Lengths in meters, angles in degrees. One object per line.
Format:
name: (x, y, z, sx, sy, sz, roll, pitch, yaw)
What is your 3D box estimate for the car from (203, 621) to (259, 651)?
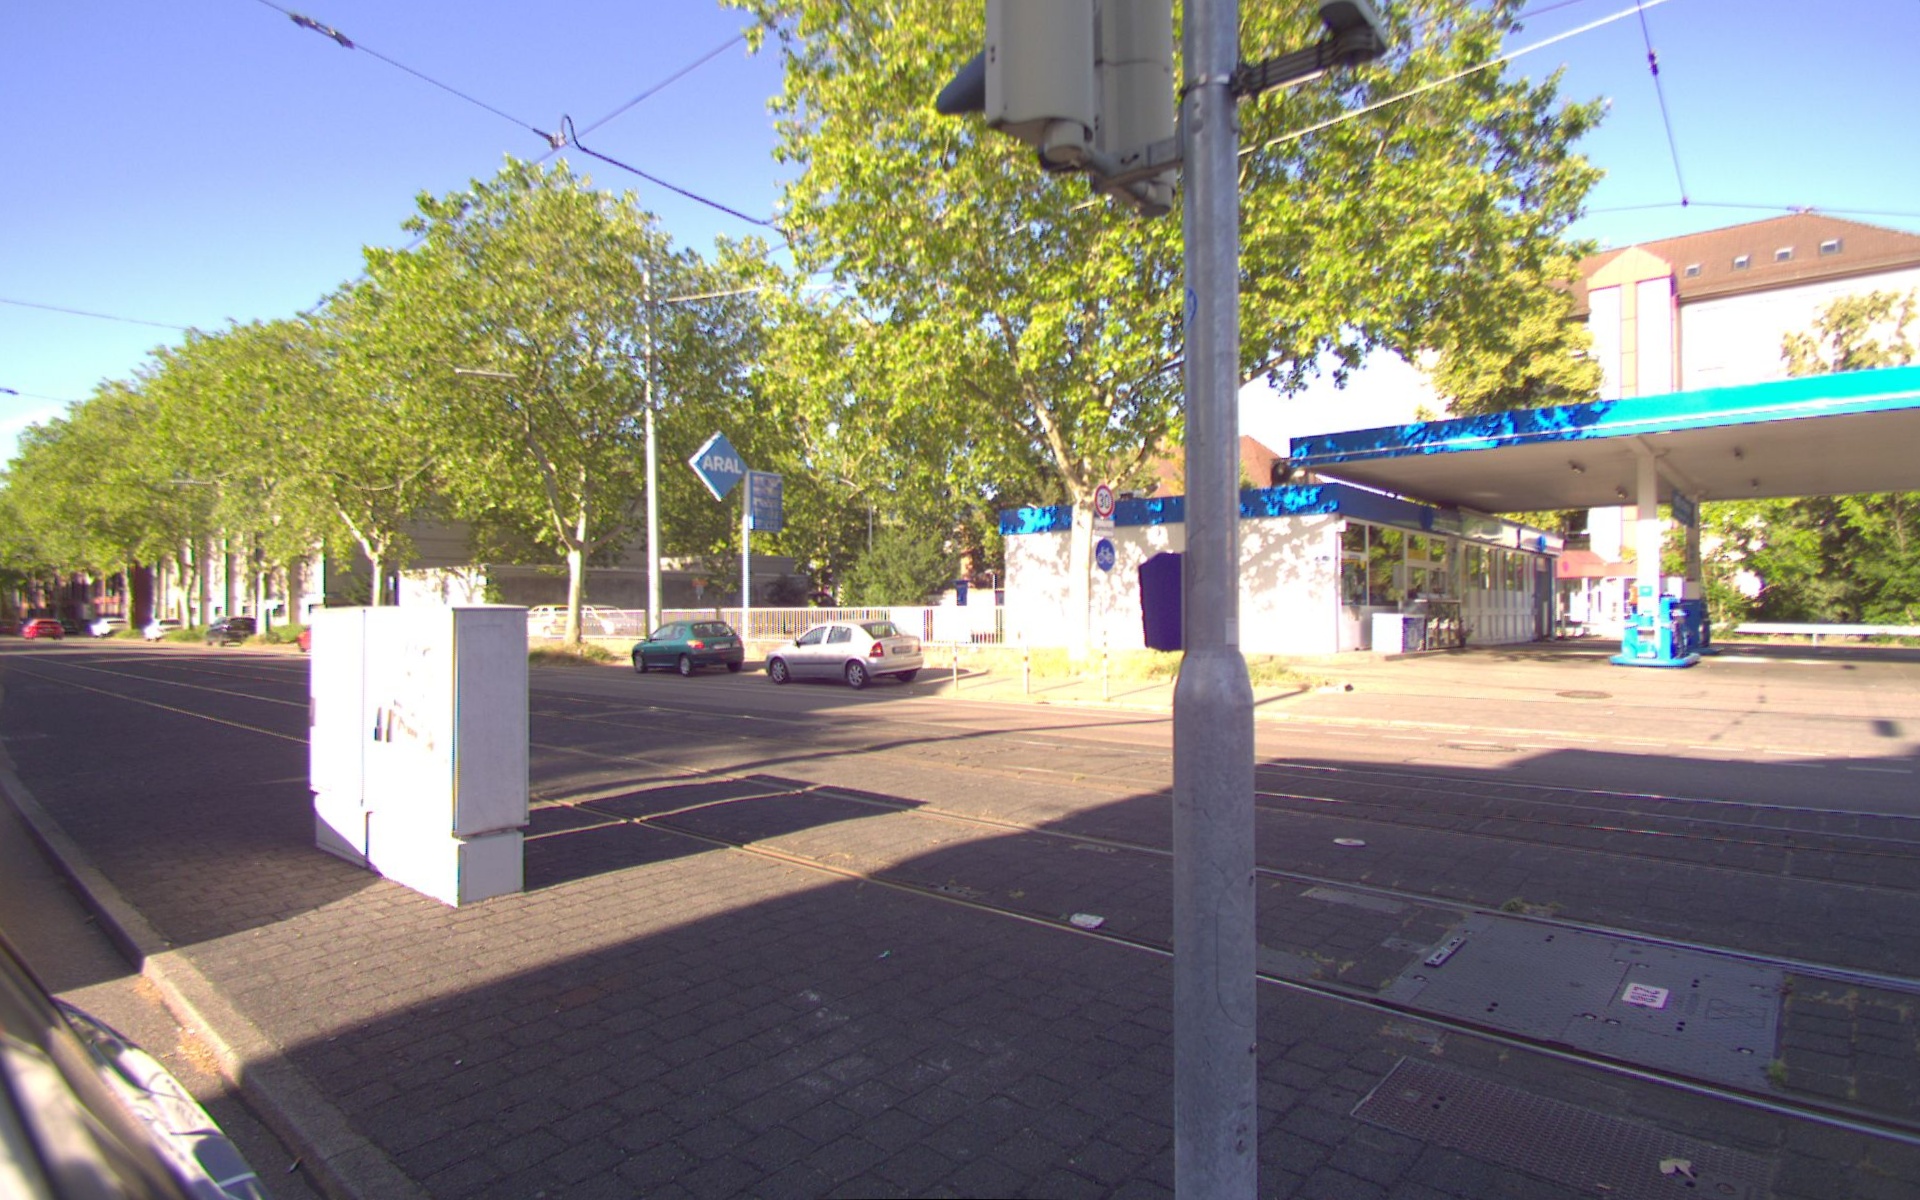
car: (-40.741, 1.982, 56.541, 3.998, 1.587, 1.678, -1, -2, 41)

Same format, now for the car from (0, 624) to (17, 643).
car: (-83.069, 2.841, 87.495, 3.998, 1.430, 1.678, -1, -10, 41)

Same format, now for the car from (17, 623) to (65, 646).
car: (-65.555, 2.447, 72.139, 4.761, 1.534, 1.887, -1, -2, 40)

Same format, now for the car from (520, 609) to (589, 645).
car: (-16.817, 1.098, 41.957, 3.151, 1.431, 1.525, -1, 0, 44)

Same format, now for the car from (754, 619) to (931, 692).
car: (-2.684, 1.169, 22.648, 3.998, 1.431, 1.709, -1, 0, 41)

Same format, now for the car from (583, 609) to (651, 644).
car: (-14.765, 1.125, 43.531, 3.151, 1.431, 1.525, -1, 0, 44)

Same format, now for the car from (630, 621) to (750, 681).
car: (-7.201, 1.302, 26.864, 3.253, 1.431, 1.526, -1, 0, 41)

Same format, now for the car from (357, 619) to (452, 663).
car: (-22.107, 1.599, 40.240, 4.431, 1.534, 1.731, -1, 3, 40)

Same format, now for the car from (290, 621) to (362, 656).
car: (-29.023, 1.743, 46.297, 3.998, 1.480, 1.678, 0, -1, 41)

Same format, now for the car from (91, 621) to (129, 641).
car: (-66.816, 2.416, 79.554, 3.998, 1.569, 1.678, -1, -2, 41)

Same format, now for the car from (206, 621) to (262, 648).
car: (-40.606, 1.889, 56.582, 3.998, 1.420, 1.678, -1, -2, 41)

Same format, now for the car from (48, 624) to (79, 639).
car: (-85.186, 2.974, 96.171, 3.998, 1.420, 1.678, -1, -2, 41)

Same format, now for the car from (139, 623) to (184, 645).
car: (-53.815, 2.292, 68.206, 3.998, 1.420, 1.678, -1, -2, 41)
